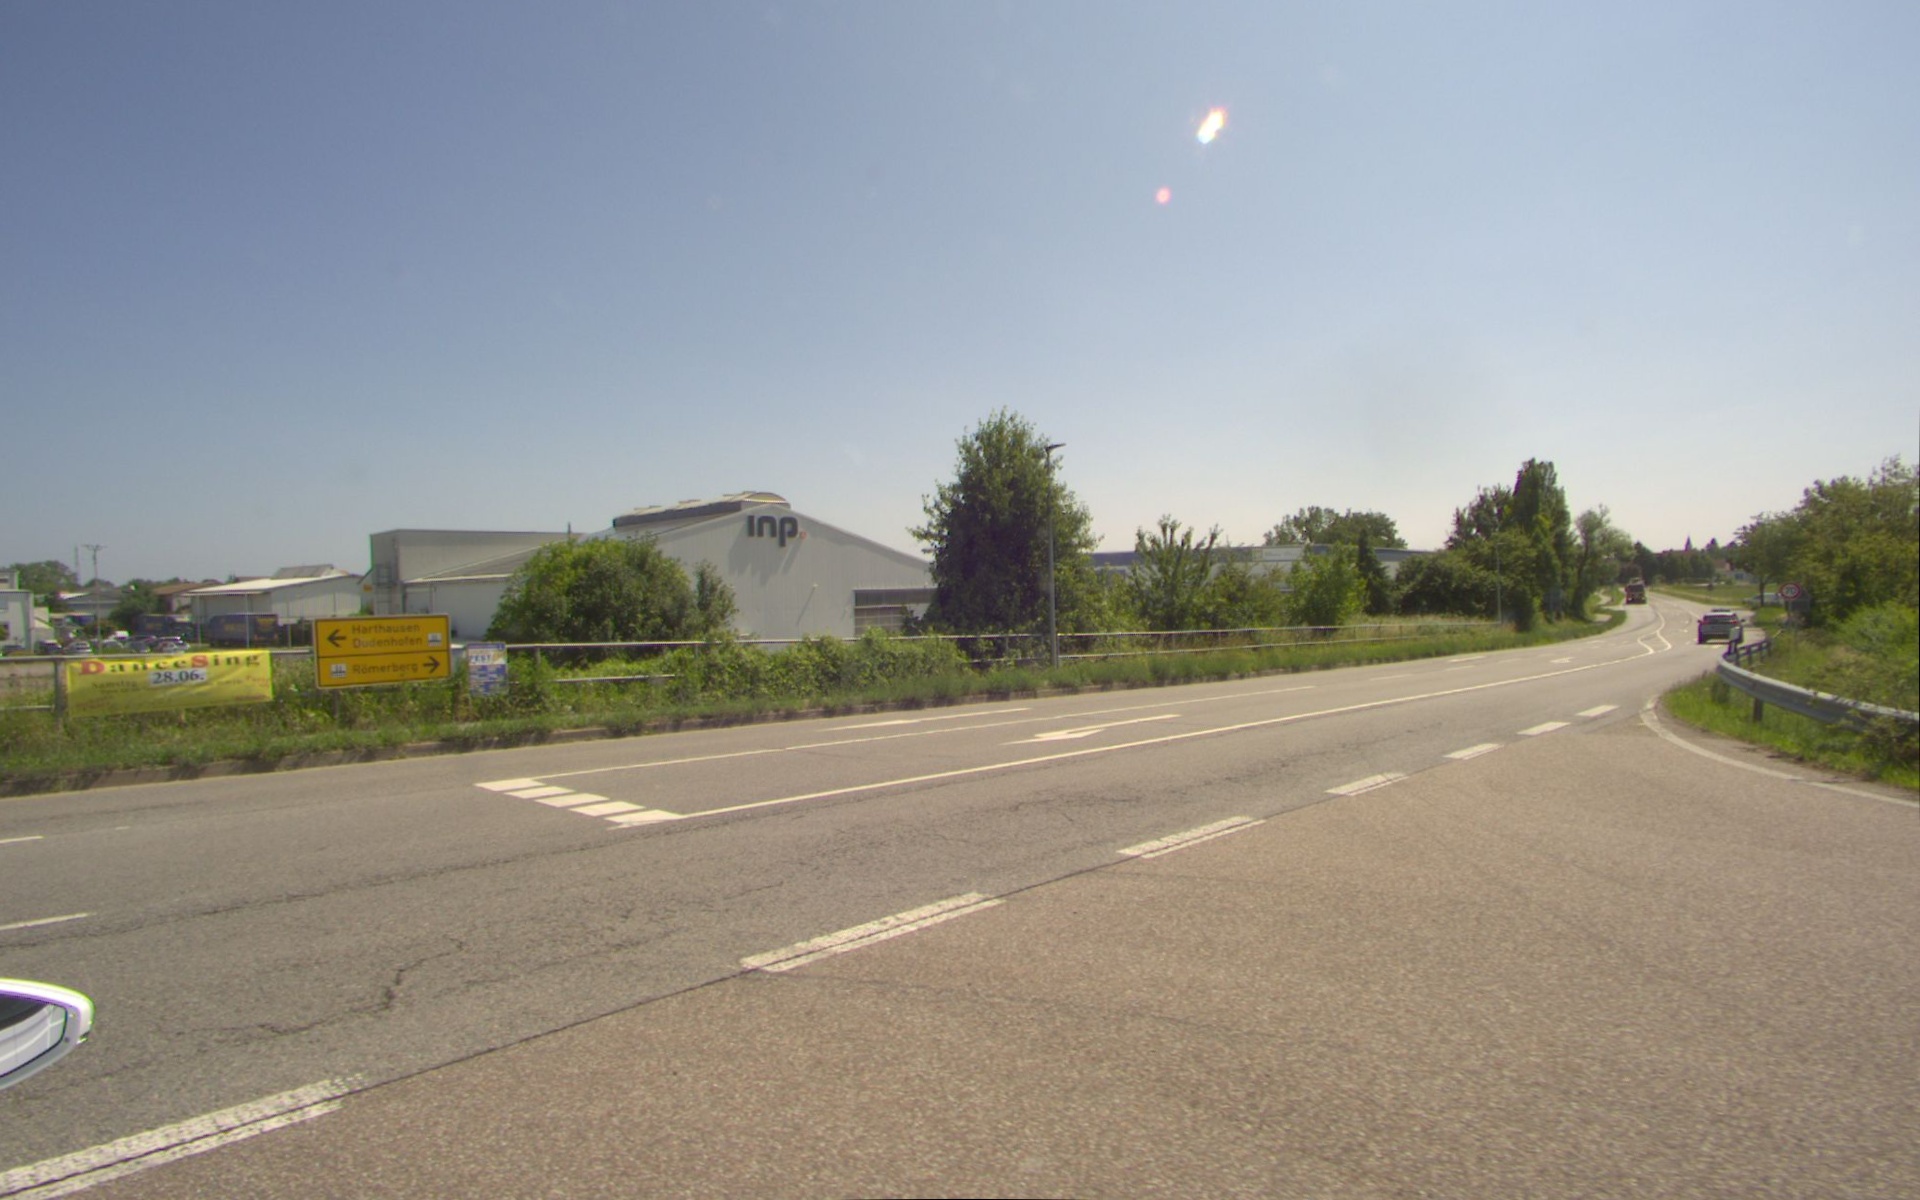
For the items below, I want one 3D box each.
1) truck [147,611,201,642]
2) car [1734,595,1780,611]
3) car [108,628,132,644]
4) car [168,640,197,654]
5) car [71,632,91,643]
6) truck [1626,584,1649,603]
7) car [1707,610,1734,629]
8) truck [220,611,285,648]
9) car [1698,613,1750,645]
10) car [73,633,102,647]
[{"bbox_3d":[-115.171,3.890,146.670,14.421,4.367,3.396,-1,-1,40],"label":"truck"},{"bbox_3d":[106.357,0.414,133.701,1.973,2.040,4.388,0,-1,-33],"label":"car"},{"bbox_3d":[-112.494,4.837,134.082,3.952,2.040,1.709,-1,0,40],"label":"car"},{"bbox_3d":[-83.161,5.014,107.080,3.790,1.382,1.675,-1,2,40],"label":"car"},{"bbox_3d":[-119.488,5.088,136.149,3.275,1.368,1.445,-1,-1,39],"label":"car"},{"bbox_3d":[104.559,-0.943,154.556,2.824,2.824,6.916,-1,0,35],"label":"truck"},{"bbox_3d":[64.450,1.628,84.793,1.510,1.593,3.638,-1,-1,42],"label":"car"},{"bbox_3d":[-88.419,3.634,125.019,13.190,4.367,3.690,-1,-1,41],"label":"truck"},{"bbox_3d":[40.017,1.519,52.395,1.779,1.603,4.453,-1,-2,42],"label":"car"},{"bbox_3d":[-110.830,5.053,127.240,4.804,1.753,1.985,-1,-1,39],"label":"car"}]
